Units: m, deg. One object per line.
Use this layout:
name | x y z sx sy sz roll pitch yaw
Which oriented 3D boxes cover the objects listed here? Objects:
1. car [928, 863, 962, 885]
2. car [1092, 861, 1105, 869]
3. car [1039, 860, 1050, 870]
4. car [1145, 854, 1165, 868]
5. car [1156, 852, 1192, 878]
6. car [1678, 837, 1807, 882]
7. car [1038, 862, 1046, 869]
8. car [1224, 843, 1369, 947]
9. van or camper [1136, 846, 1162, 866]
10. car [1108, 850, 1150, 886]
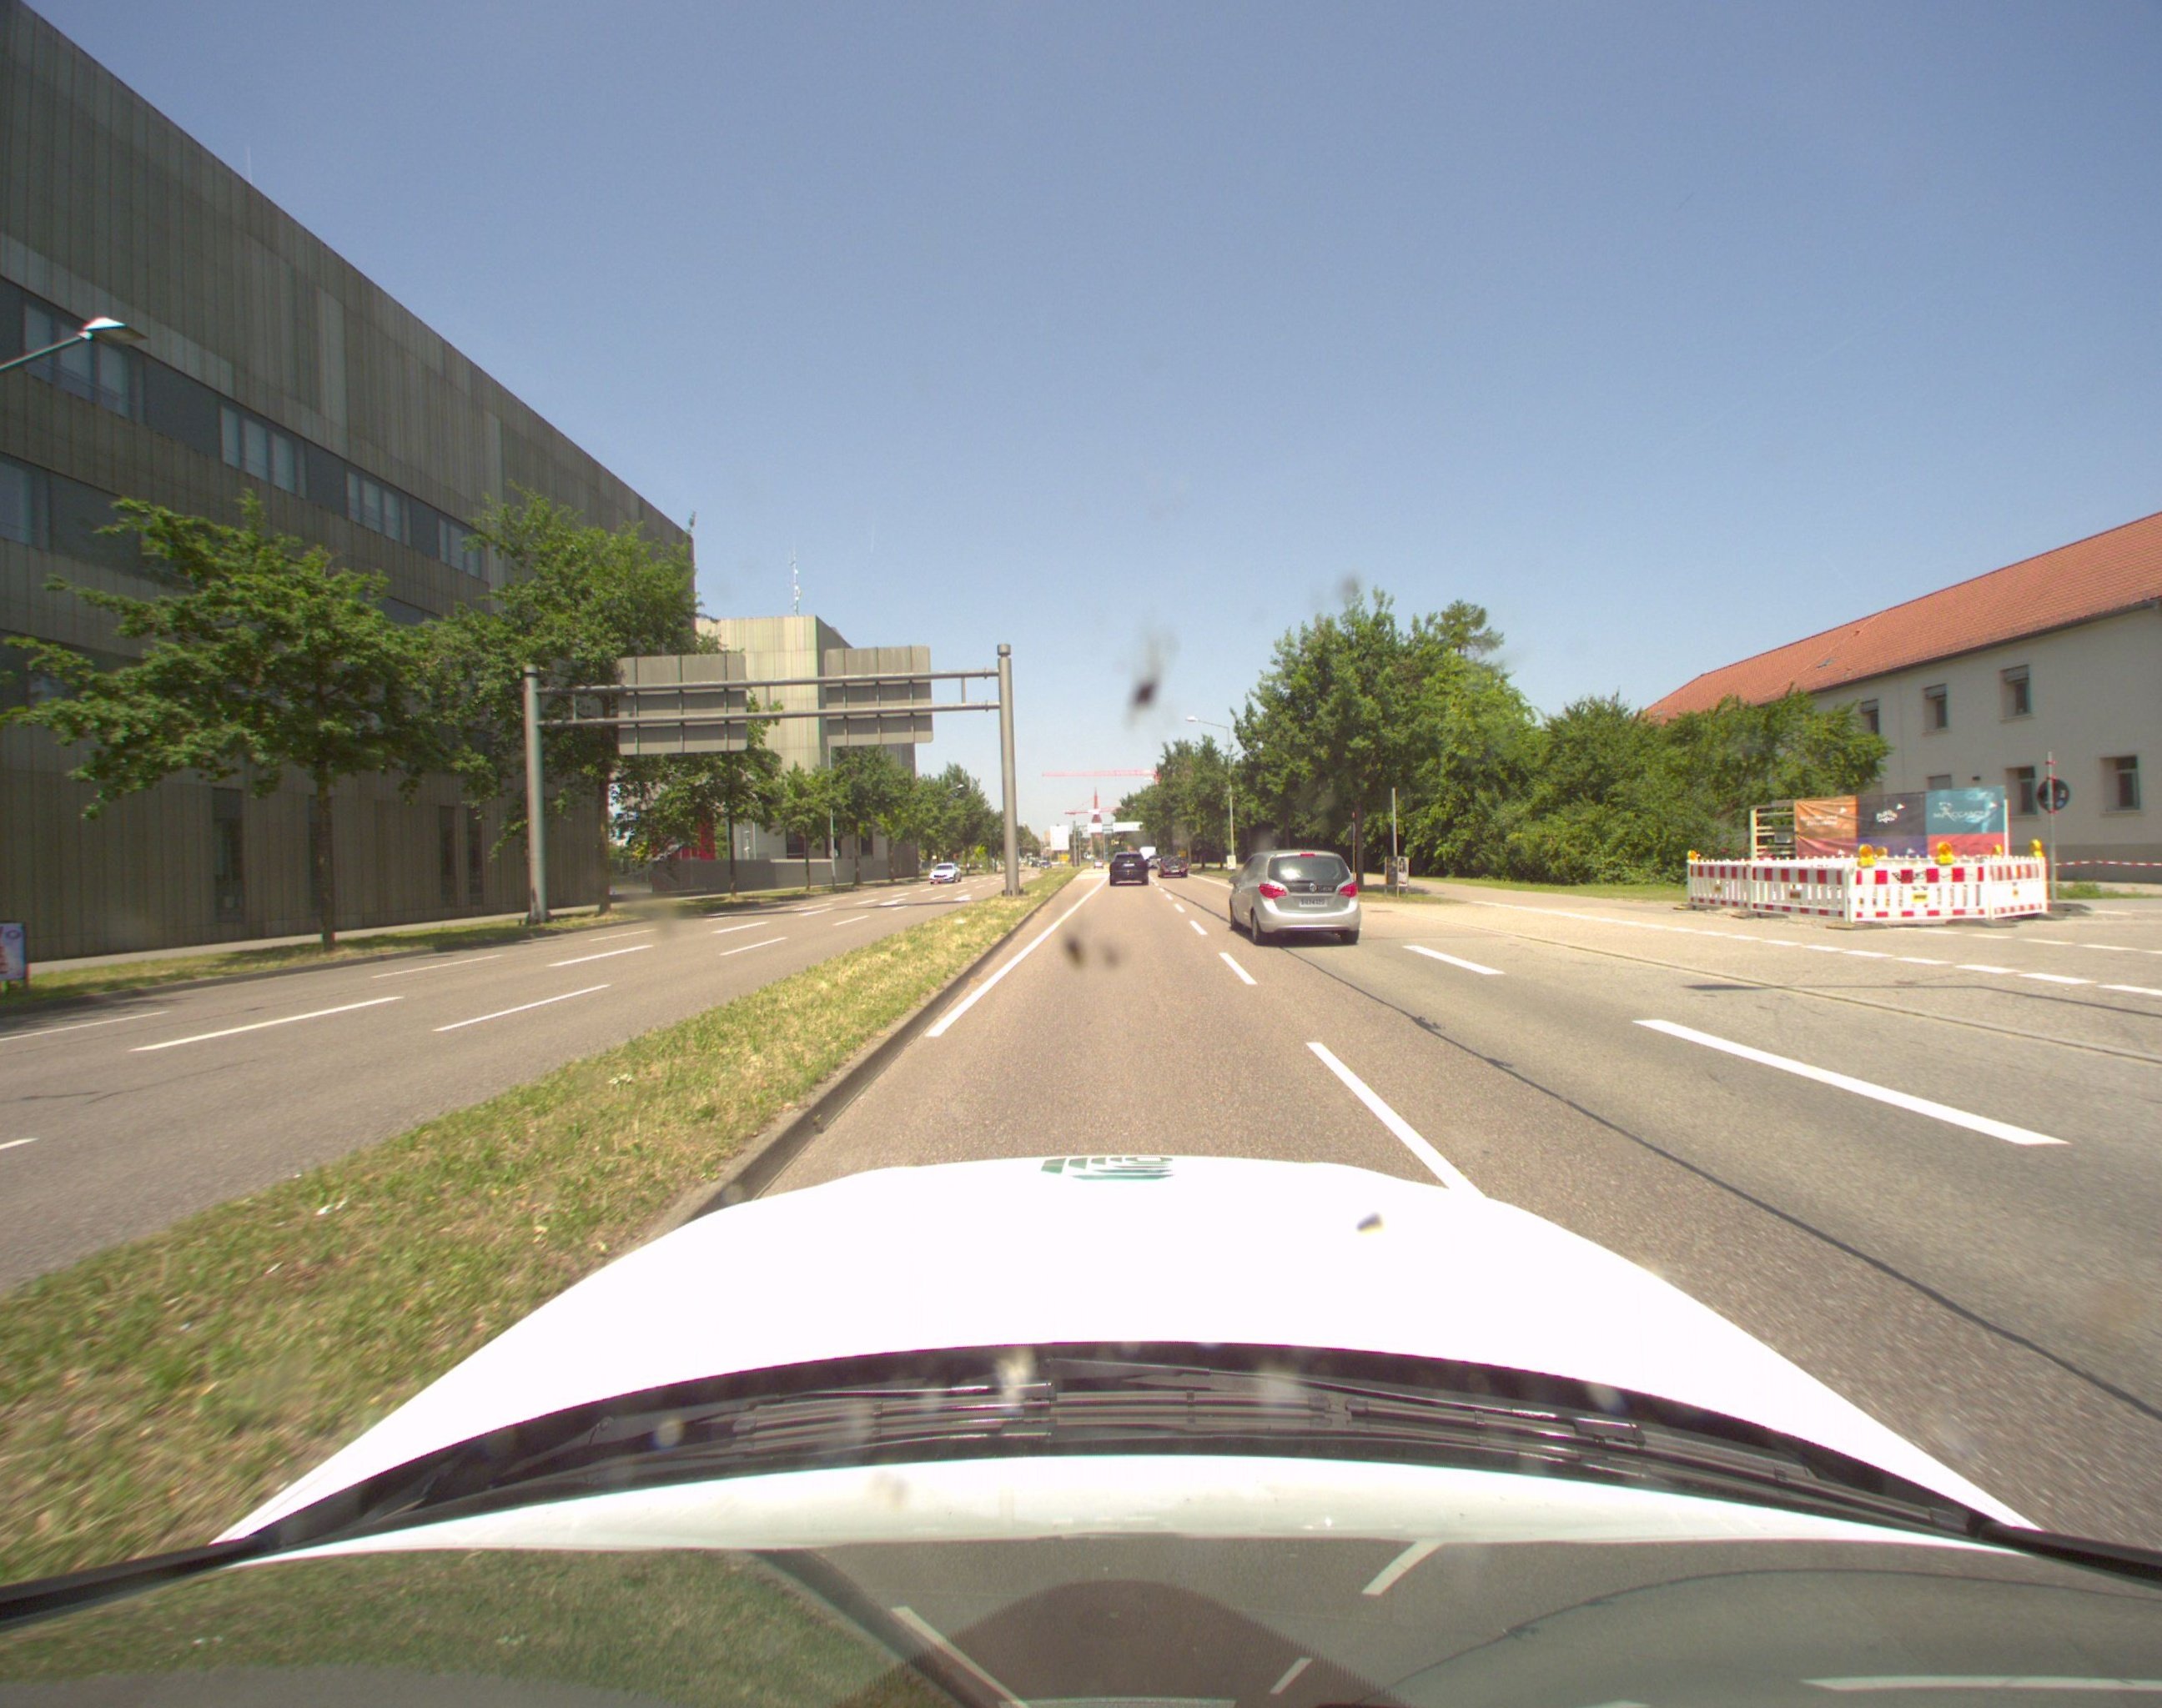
car | -9.992 1.421 60.090 1.805 1.427 4.357 -3 0 -1
car | 3.175 1.958 148.840 1.989 1.321 3.995 -2 0 -3
car | -5.991 1.832 134.419 1.702 1.472 3.939 -3 0 -1
car | 7.554 0.750 83.383 1.649 1.356 4.460 -2 -1 0
car | 5.994 0.715 52.763 2.006 1.517 4.464 -2 -1 3
car | 26.821 0.243 33.179 3.948 1.662 1.892 -2 0 38
car | -10.234 3.022 211.468 1.887 1.610 4.532 -2 0 -1
car | 3.762 0.655 14.879 1.785 1.612 3.894 -1 0 3
van or camper | 7.931 0.254 95.894 2.486 2.291 4.918 -2 -1 -1
car | 2.410 0.670 41.085 1.990 1.689 4.036 -1 0 2
